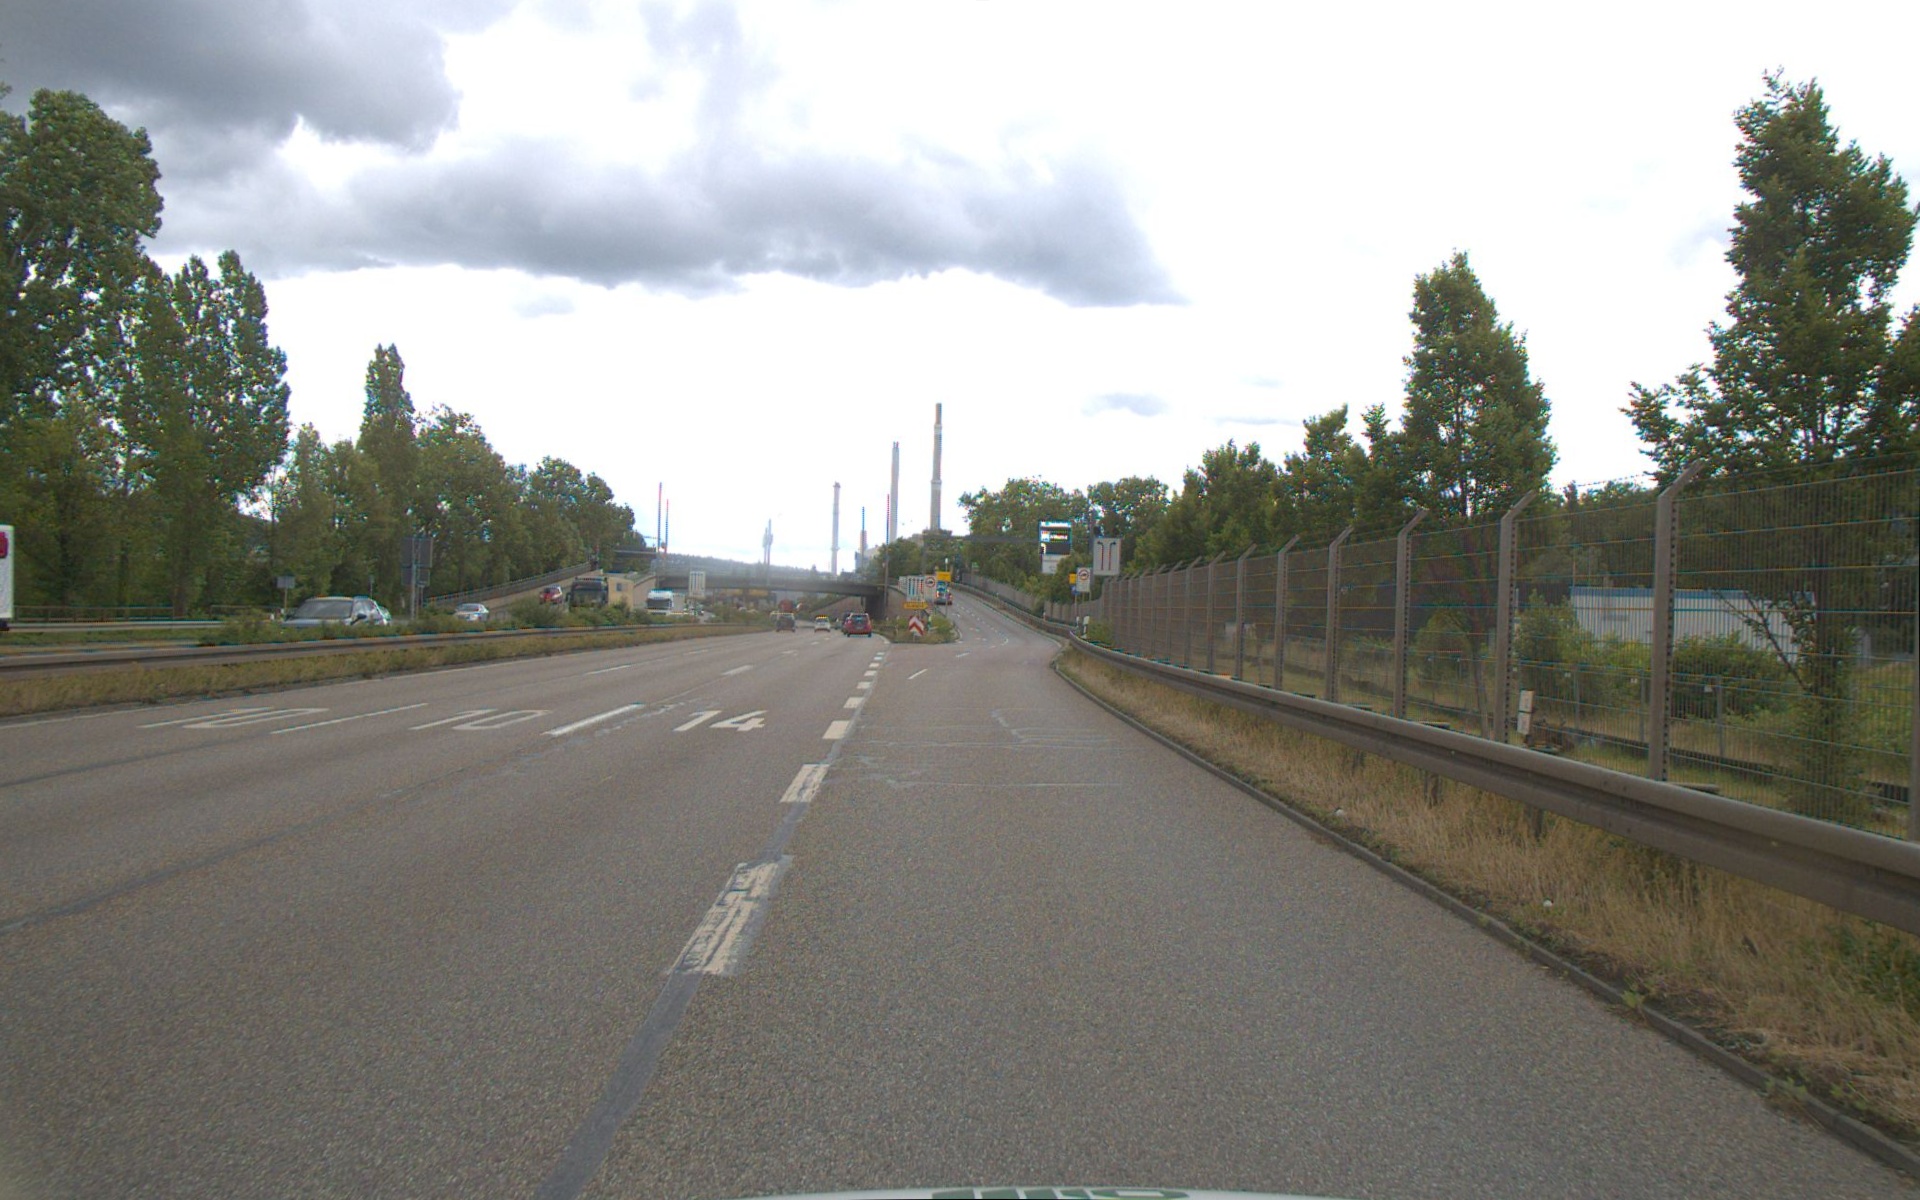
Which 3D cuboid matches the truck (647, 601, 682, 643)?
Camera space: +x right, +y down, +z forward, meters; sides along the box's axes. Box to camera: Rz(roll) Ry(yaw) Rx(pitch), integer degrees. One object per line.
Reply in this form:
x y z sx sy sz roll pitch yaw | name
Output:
-29.637 2.257 166.220 2.735 4.006 5.307 2 -2 -4 | truck

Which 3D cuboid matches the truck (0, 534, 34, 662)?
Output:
-29.192 -0.136 46.546 2.925 3.707 6.330 3 -1 -5 | truck

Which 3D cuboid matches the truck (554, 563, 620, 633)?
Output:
-26.669 -0.106 118.500 3.394 4.755 6.207 2 -1 -3 | truck

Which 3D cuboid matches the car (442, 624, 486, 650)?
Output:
-34.541 2.571 115.248 1.955 1.673 4.599 3 -1 -5 | car

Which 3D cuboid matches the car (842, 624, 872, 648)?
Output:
-6.905 2.391 110.568 1.954 1.445 3.996 2 0 -4 | car

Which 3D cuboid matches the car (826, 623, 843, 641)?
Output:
-15.554 3.923 205.411 1.881 2.049 3.994 2 0 -7 | car

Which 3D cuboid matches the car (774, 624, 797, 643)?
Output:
-17.420 3.332 165.567 1.953 1.713 3.998 2 0 -2 | car

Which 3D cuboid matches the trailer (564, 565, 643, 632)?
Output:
-27.038 0.029 126.235 3.394 4.755 14.772 2 -1 -3 | trailer

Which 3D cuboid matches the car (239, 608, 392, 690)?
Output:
-16.346 1.208 42.293 1.810 1.759 5.522 -7 0 -3 | car

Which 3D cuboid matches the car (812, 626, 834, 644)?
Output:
-13.862 3.520 167.801 1.953 1.713 3.998 2 0 -2 | car
